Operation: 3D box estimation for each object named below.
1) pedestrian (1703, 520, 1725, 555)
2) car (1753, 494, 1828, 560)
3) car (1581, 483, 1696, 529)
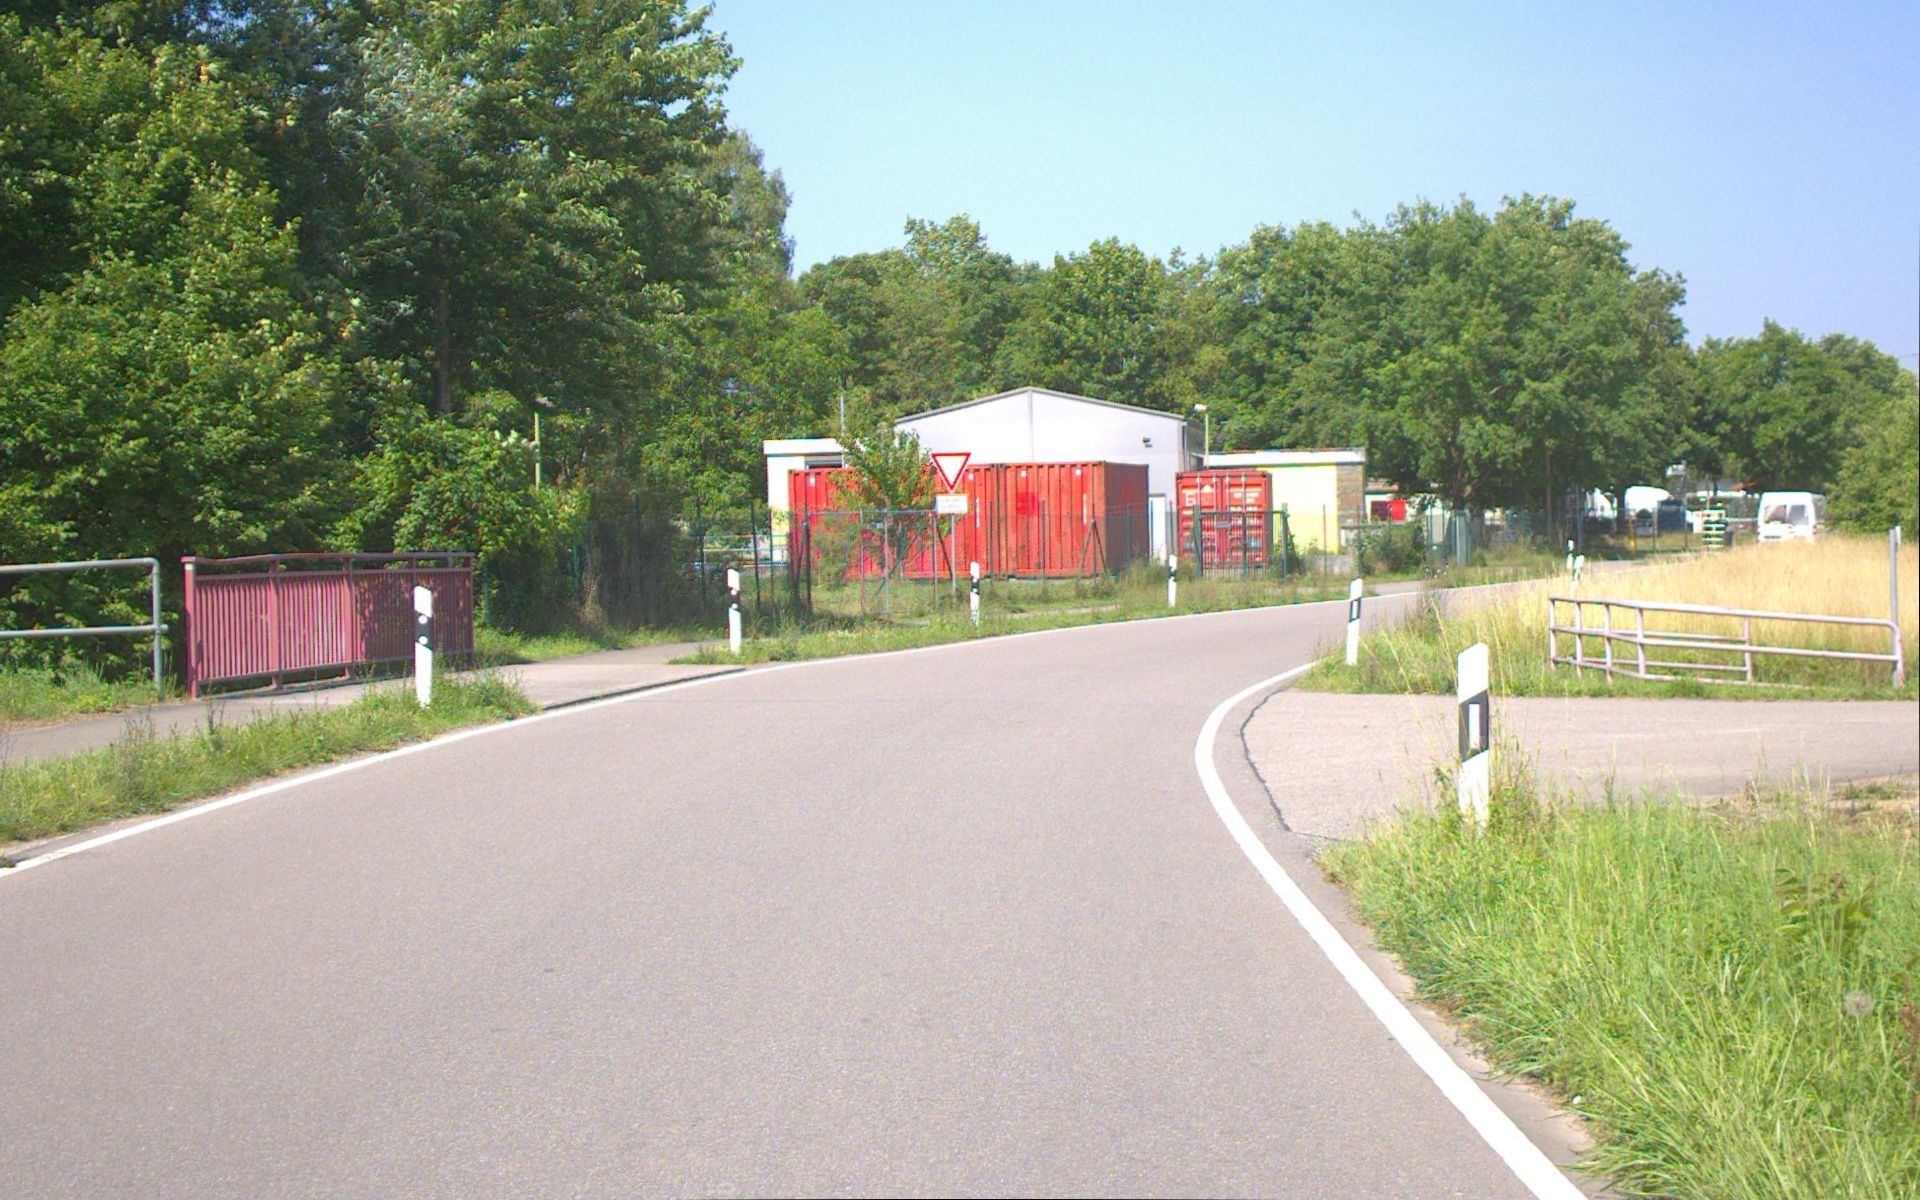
[{"bbox_3d":[34.004,-2.822,155.044,0.678,1.560,0.717,0,1,43],"label":"pedestrian"},{"bbox_3d":[29.155,-2.577,120.573,1.995,2.258,4.721,-1,1,20],"label":"car"},{"bbox_3d":[35.263,-4.906,178.736,5.593,2.258,2.001,-2,1,-18],"label":"car"}]
